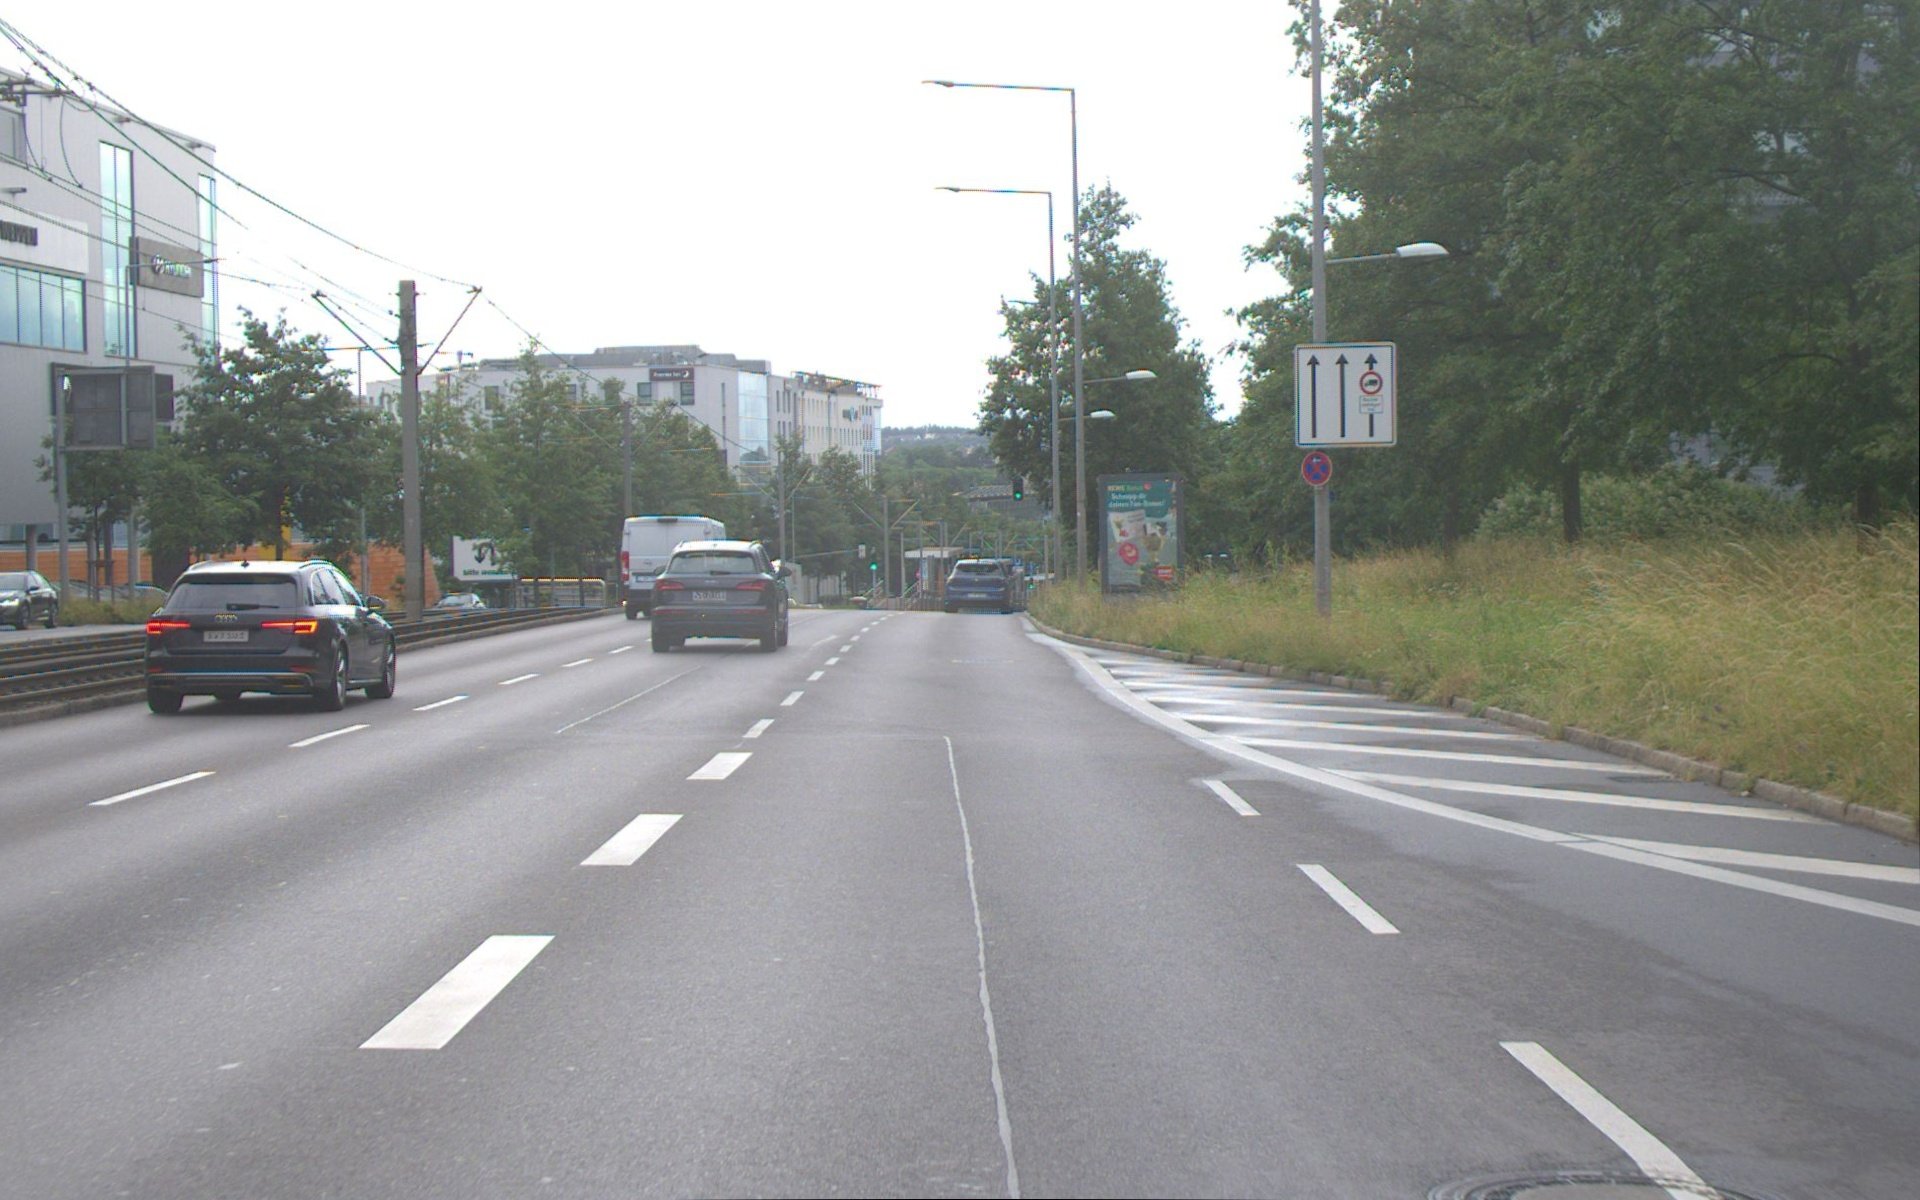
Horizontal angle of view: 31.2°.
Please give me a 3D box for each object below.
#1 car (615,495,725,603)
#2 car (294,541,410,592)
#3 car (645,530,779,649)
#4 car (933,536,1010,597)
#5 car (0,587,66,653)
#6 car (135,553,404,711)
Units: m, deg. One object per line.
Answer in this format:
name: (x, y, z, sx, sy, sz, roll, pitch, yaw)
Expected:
car: (-6.403, -1.132, 76.387, 2.267, 2.277, 4.760, 1, 1, -3)
car: (-29.173, -1.597, 165.159, 5.302, 2.305, 2.020, 1, -1, -5)
car: (-3.724, -0.183, 51.897, 1.922, 1.705, 4.099, 1, 1, -4)
car: (0.298, -0.906, 93.419, 1.789, 1.585, 4.000, -1, 0, -4)
car: (-23.636, 0.516, 84.998, 1.841, 1.481, 4.430, -4, 1, 0)
car: (-6.610, 0.256, 33.397, 1.785, 1.409, 4.806, 0, 1, -2)
